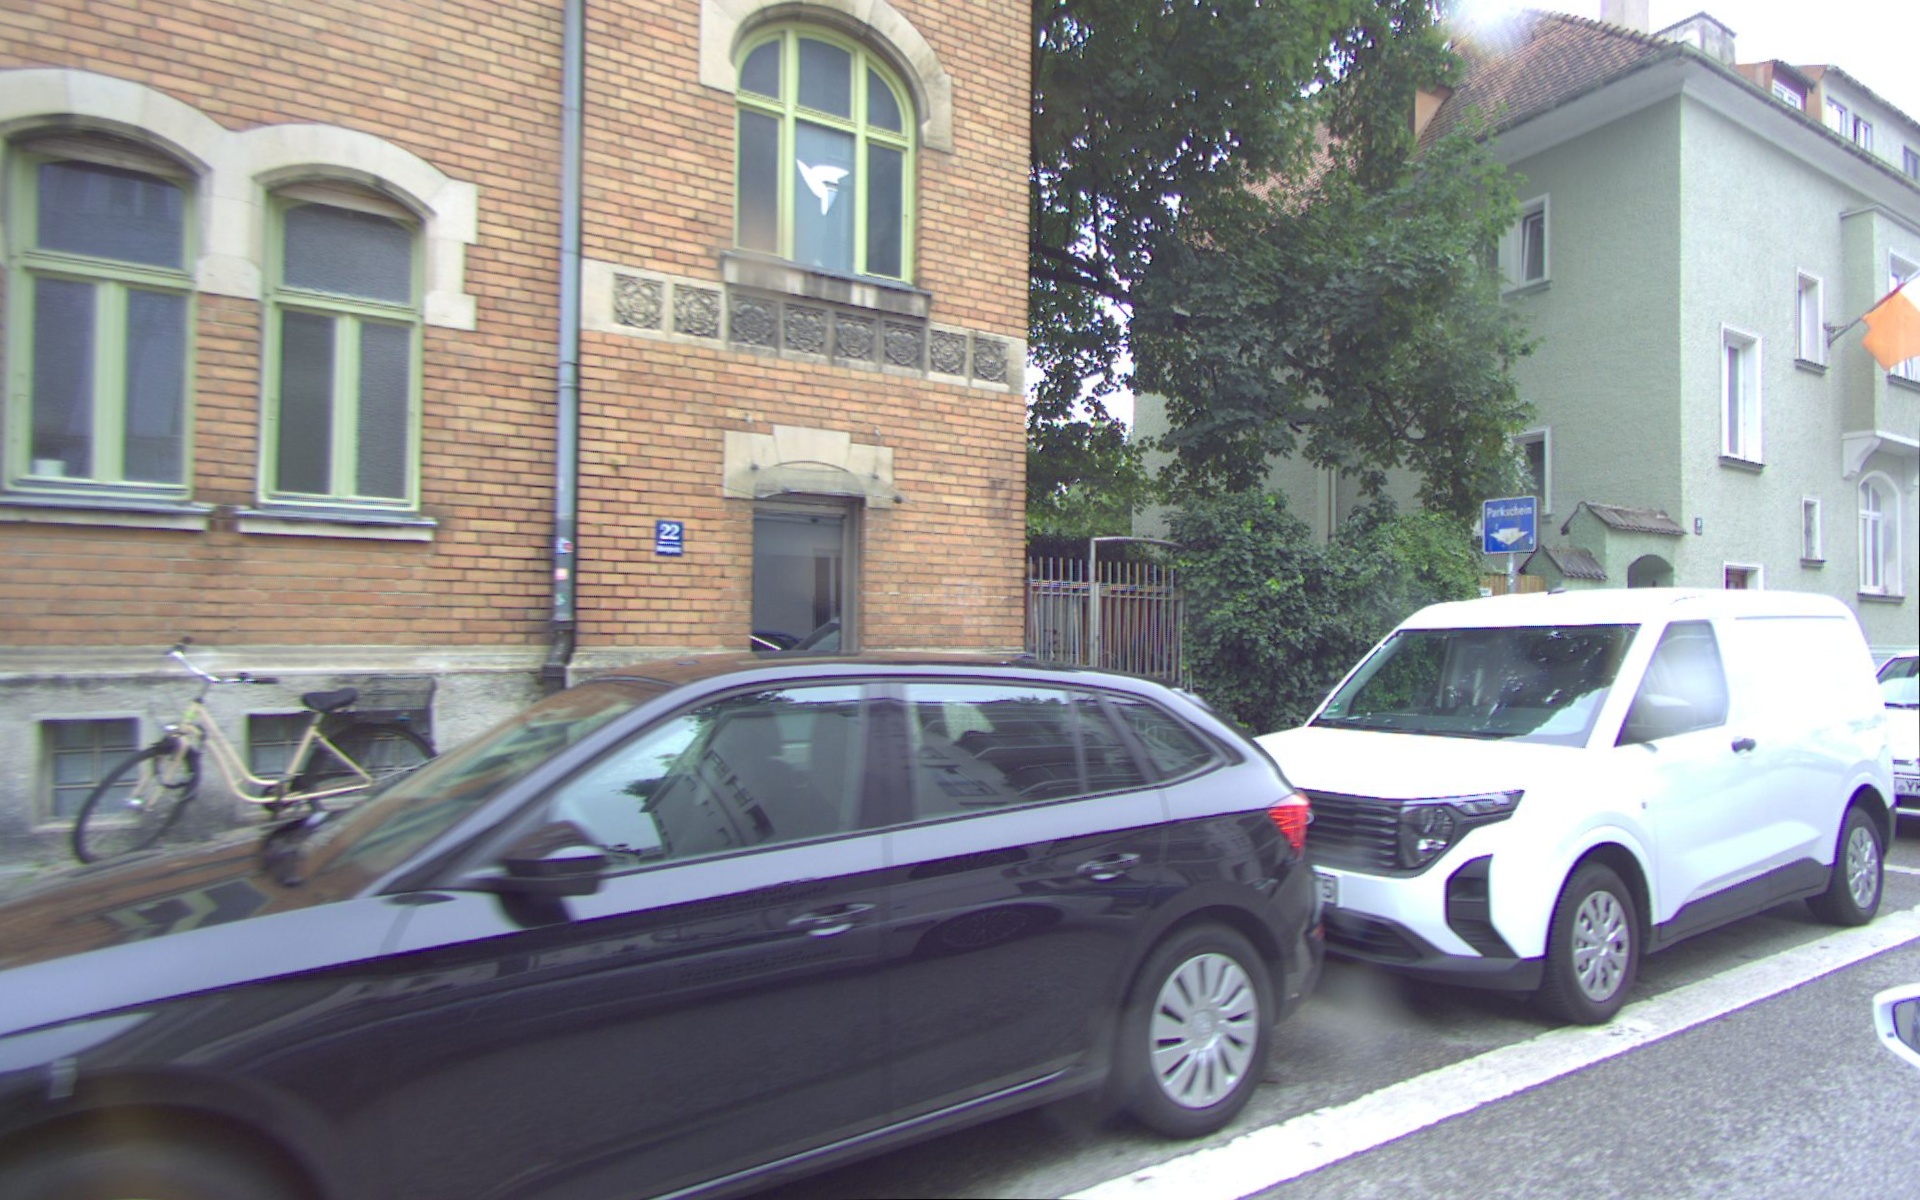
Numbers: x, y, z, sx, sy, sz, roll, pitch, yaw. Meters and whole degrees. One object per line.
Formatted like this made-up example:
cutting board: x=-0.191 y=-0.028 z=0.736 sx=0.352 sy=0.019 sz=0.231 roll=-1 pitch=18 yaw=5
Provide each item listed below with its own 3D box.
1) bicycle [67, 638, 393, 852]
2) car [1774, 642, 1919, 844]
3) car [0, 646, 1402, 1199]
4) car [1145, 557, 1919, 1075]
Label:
bicycle: x=-4.137 y=0.786 z=5.813 sx=1.455 sy=1.099 sz=0.432 roll=2 pitch=0 yaw=-31
car: x=8.582 y=1.110 z=8.439 sx=3.480 sy=1.487 sz=1.619 roll=1 pitch=-2 yaw=-31
car: x=-0.698 y=0.881 z=3.094 sx=4.118 sy=1.439 sz=1.707 roll=1 pitch=-2 yaw=-31
car: x=3.146 y=0.804 z=5.298 sx=4.201 sy=1.779 sz=1.707 roll=1 pitch=-2 yaw=-31
